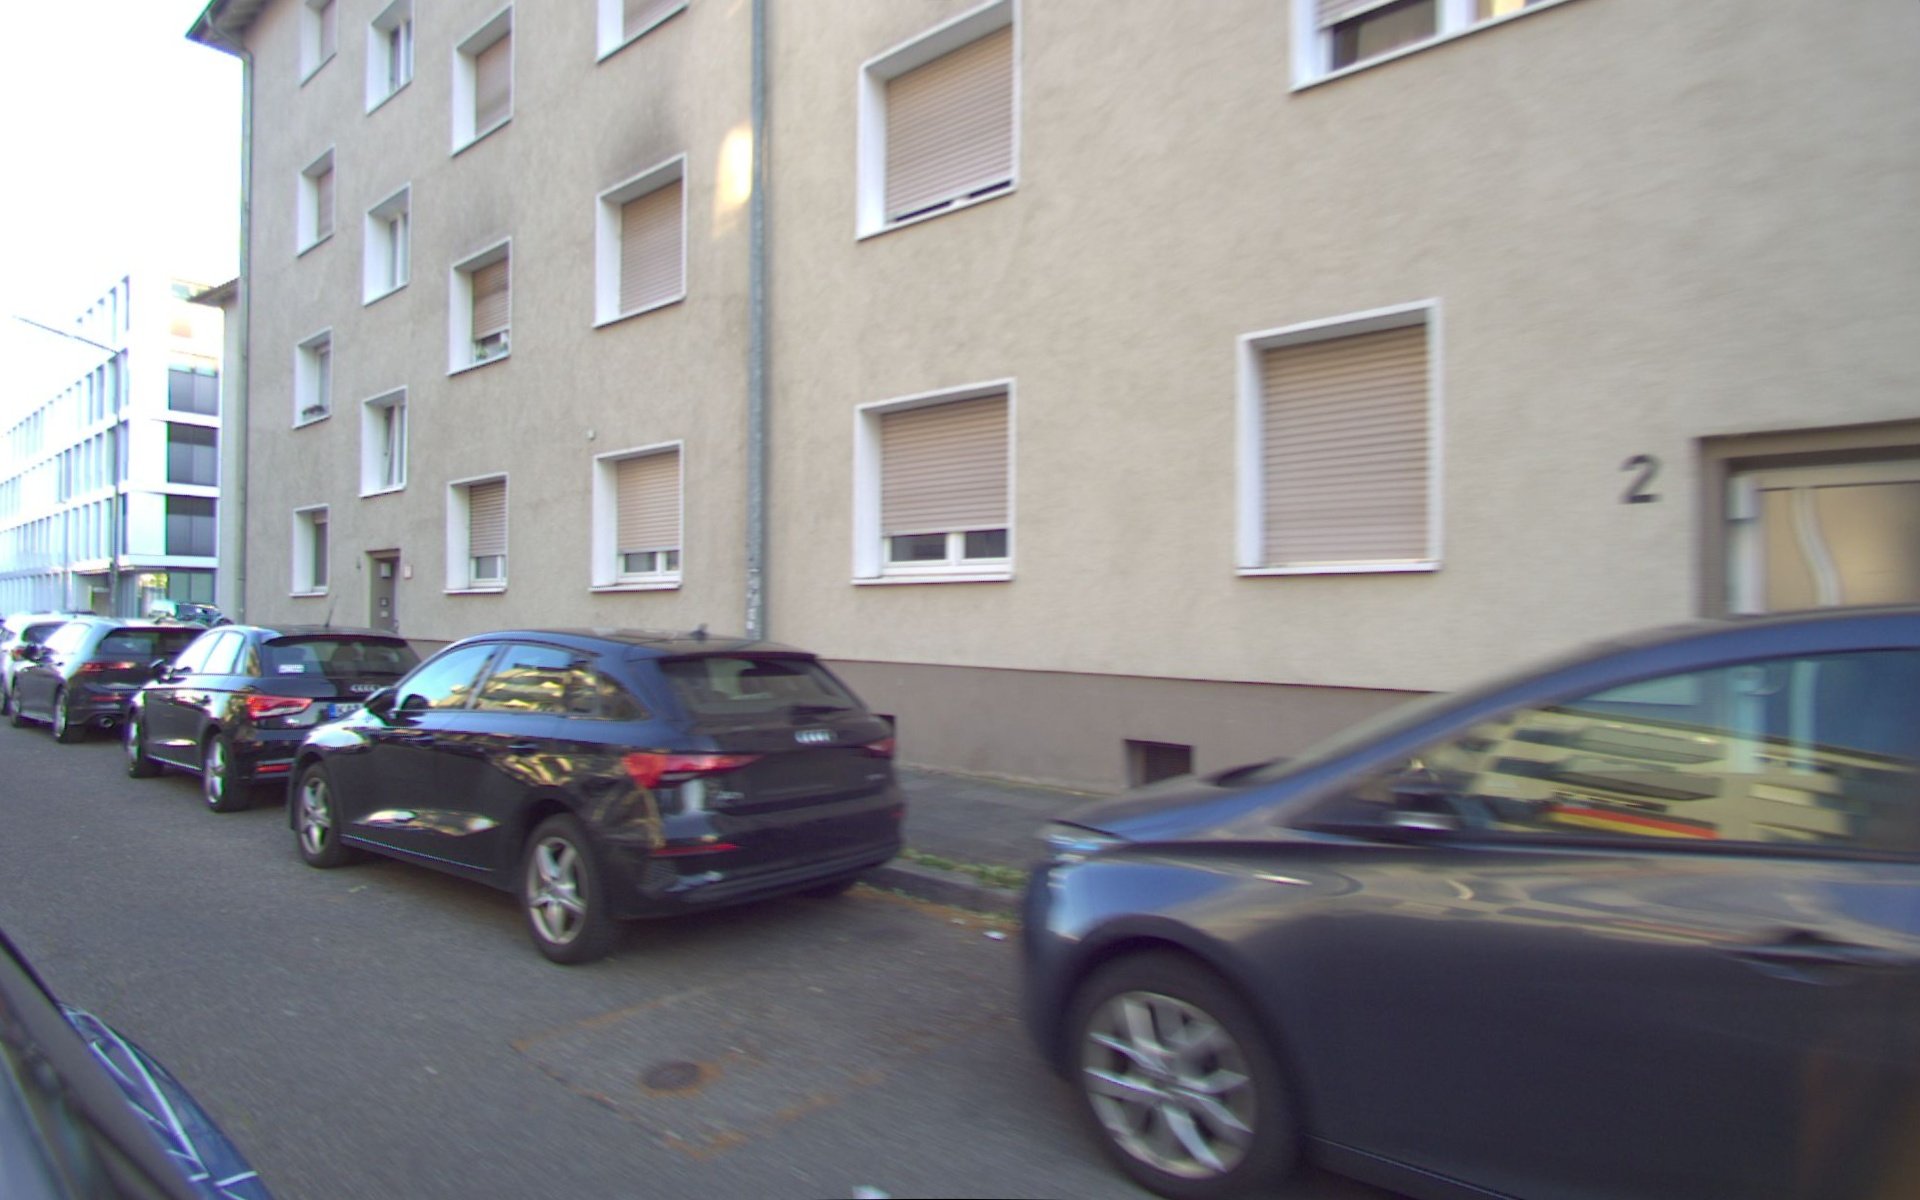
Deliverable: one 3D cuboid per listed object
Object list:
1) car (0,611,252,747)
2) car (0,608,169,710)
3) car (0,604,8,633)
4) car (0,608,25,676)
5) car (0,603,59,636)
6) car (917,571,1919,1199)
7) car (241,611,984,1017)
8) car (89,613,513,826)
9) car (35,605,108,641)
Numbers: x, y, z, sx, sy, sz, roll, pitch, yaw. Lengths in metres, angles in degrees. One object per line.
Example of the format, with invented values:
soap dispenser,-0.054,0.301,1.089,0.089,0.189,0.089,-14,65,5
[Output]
car,-10.883,0.875,12.966,4.426,1.455,1.770,0,-1,38
car,-14.794,0.859,16.515,4.426,1.455,1.974,0,-1,38
car,-52.279,0.973,53.933,4.000,1.530,1.972,0,-1,42
car,-23.254,0.940,23.222,4.426,1.501,1.974,0,-1,38
car,-44.534,0.905,48.212,4.000,1.497,1.972,0,-1,42
car,2.018,0.760,2.489,4.062,1.545,1.773,0,-3,38
car,-2.212,0.798,5.820,4.426,1.455,1.974,0,-1,38
car,-6.100,0.853,9.166,4.427,1.455,1.974,0,-1,39
car,-39.499,1.003,44.963,4.000,1.497,1.972,0,-1,42
